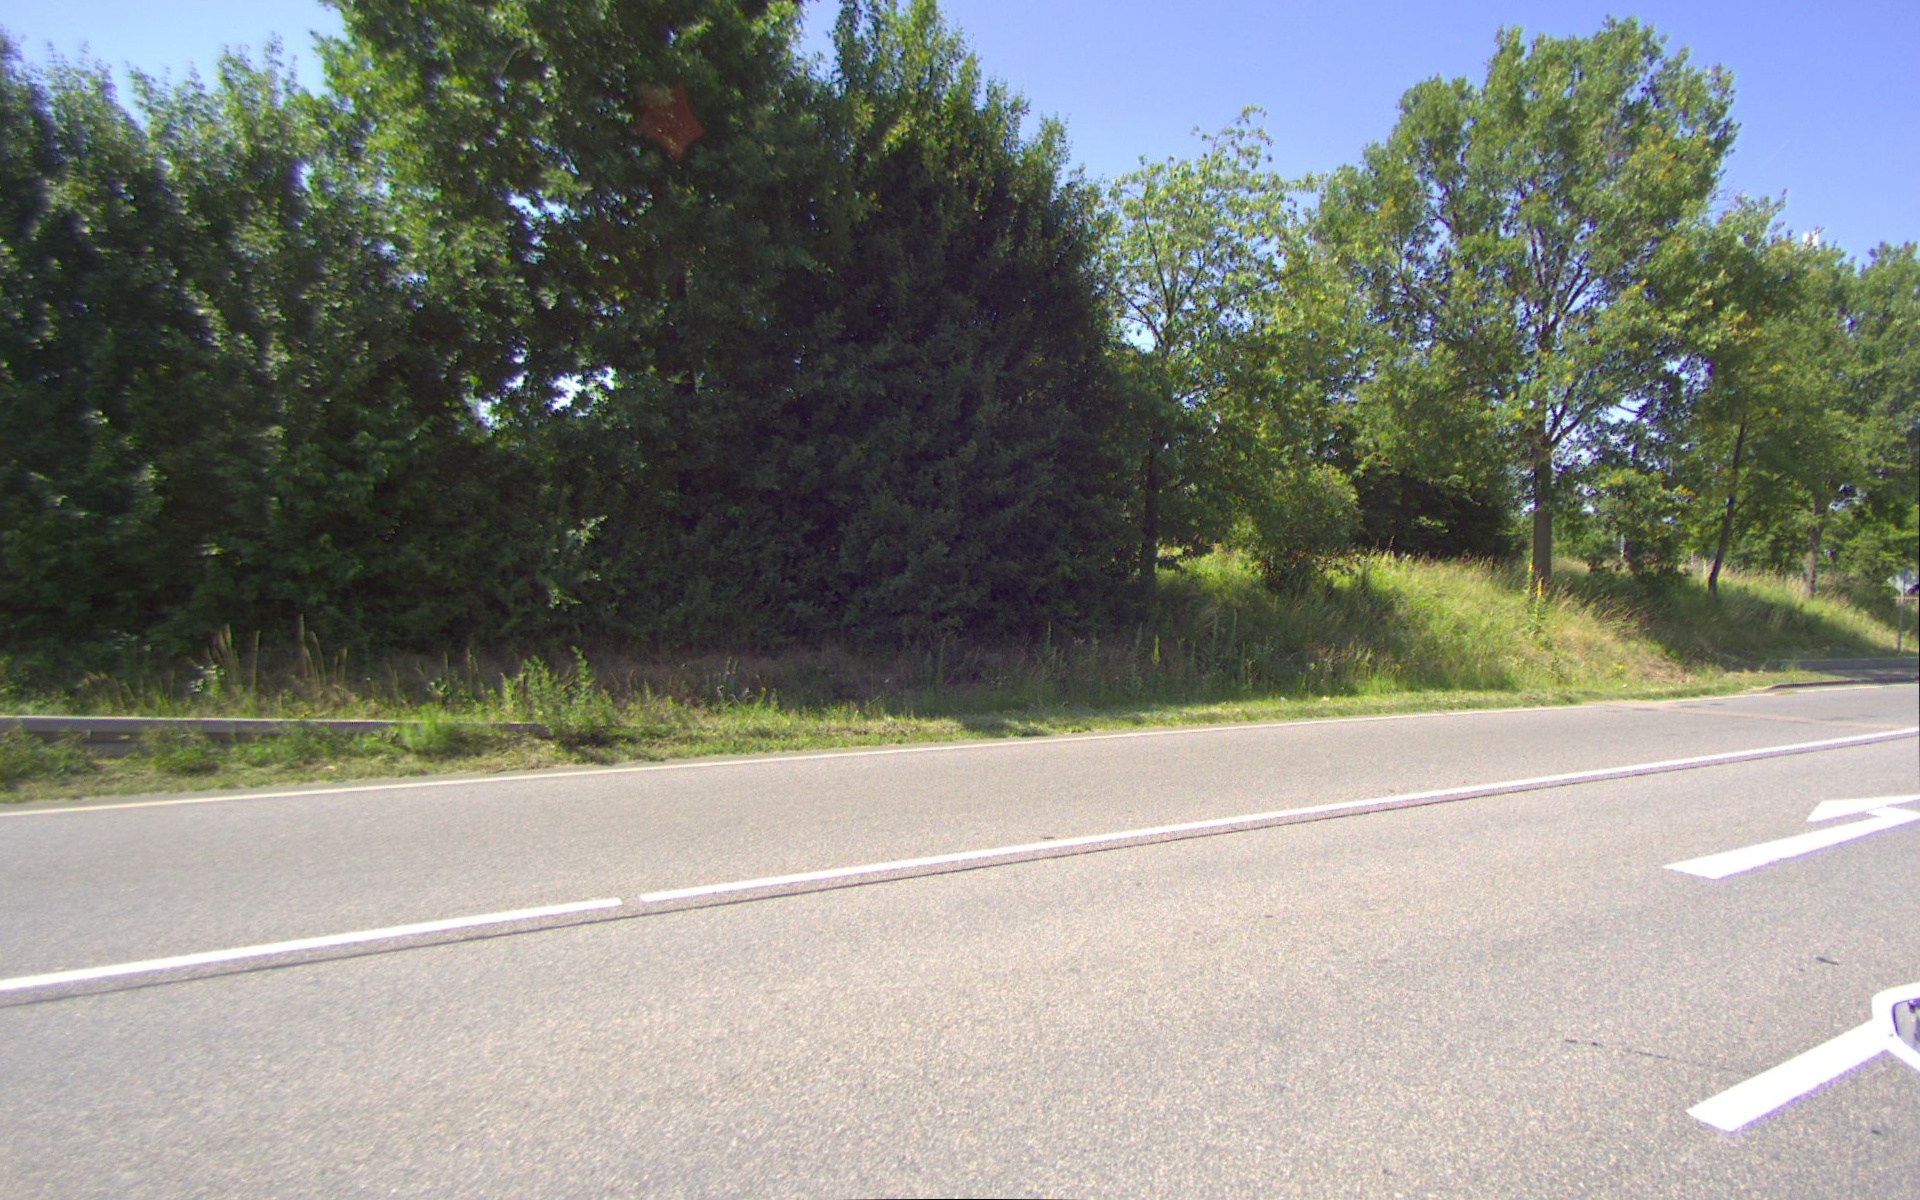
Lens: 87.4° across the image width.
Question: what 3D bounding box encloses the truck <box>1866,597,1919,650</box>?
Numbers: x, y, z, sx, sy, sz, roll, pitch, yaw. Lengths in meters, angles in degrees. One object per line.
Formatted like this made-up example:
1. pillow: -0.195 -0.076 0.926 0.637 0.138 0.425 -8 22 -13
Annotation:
1. truck: 47.816 1.174 47.840 2.682 2.532 6.381 1 0 -29
